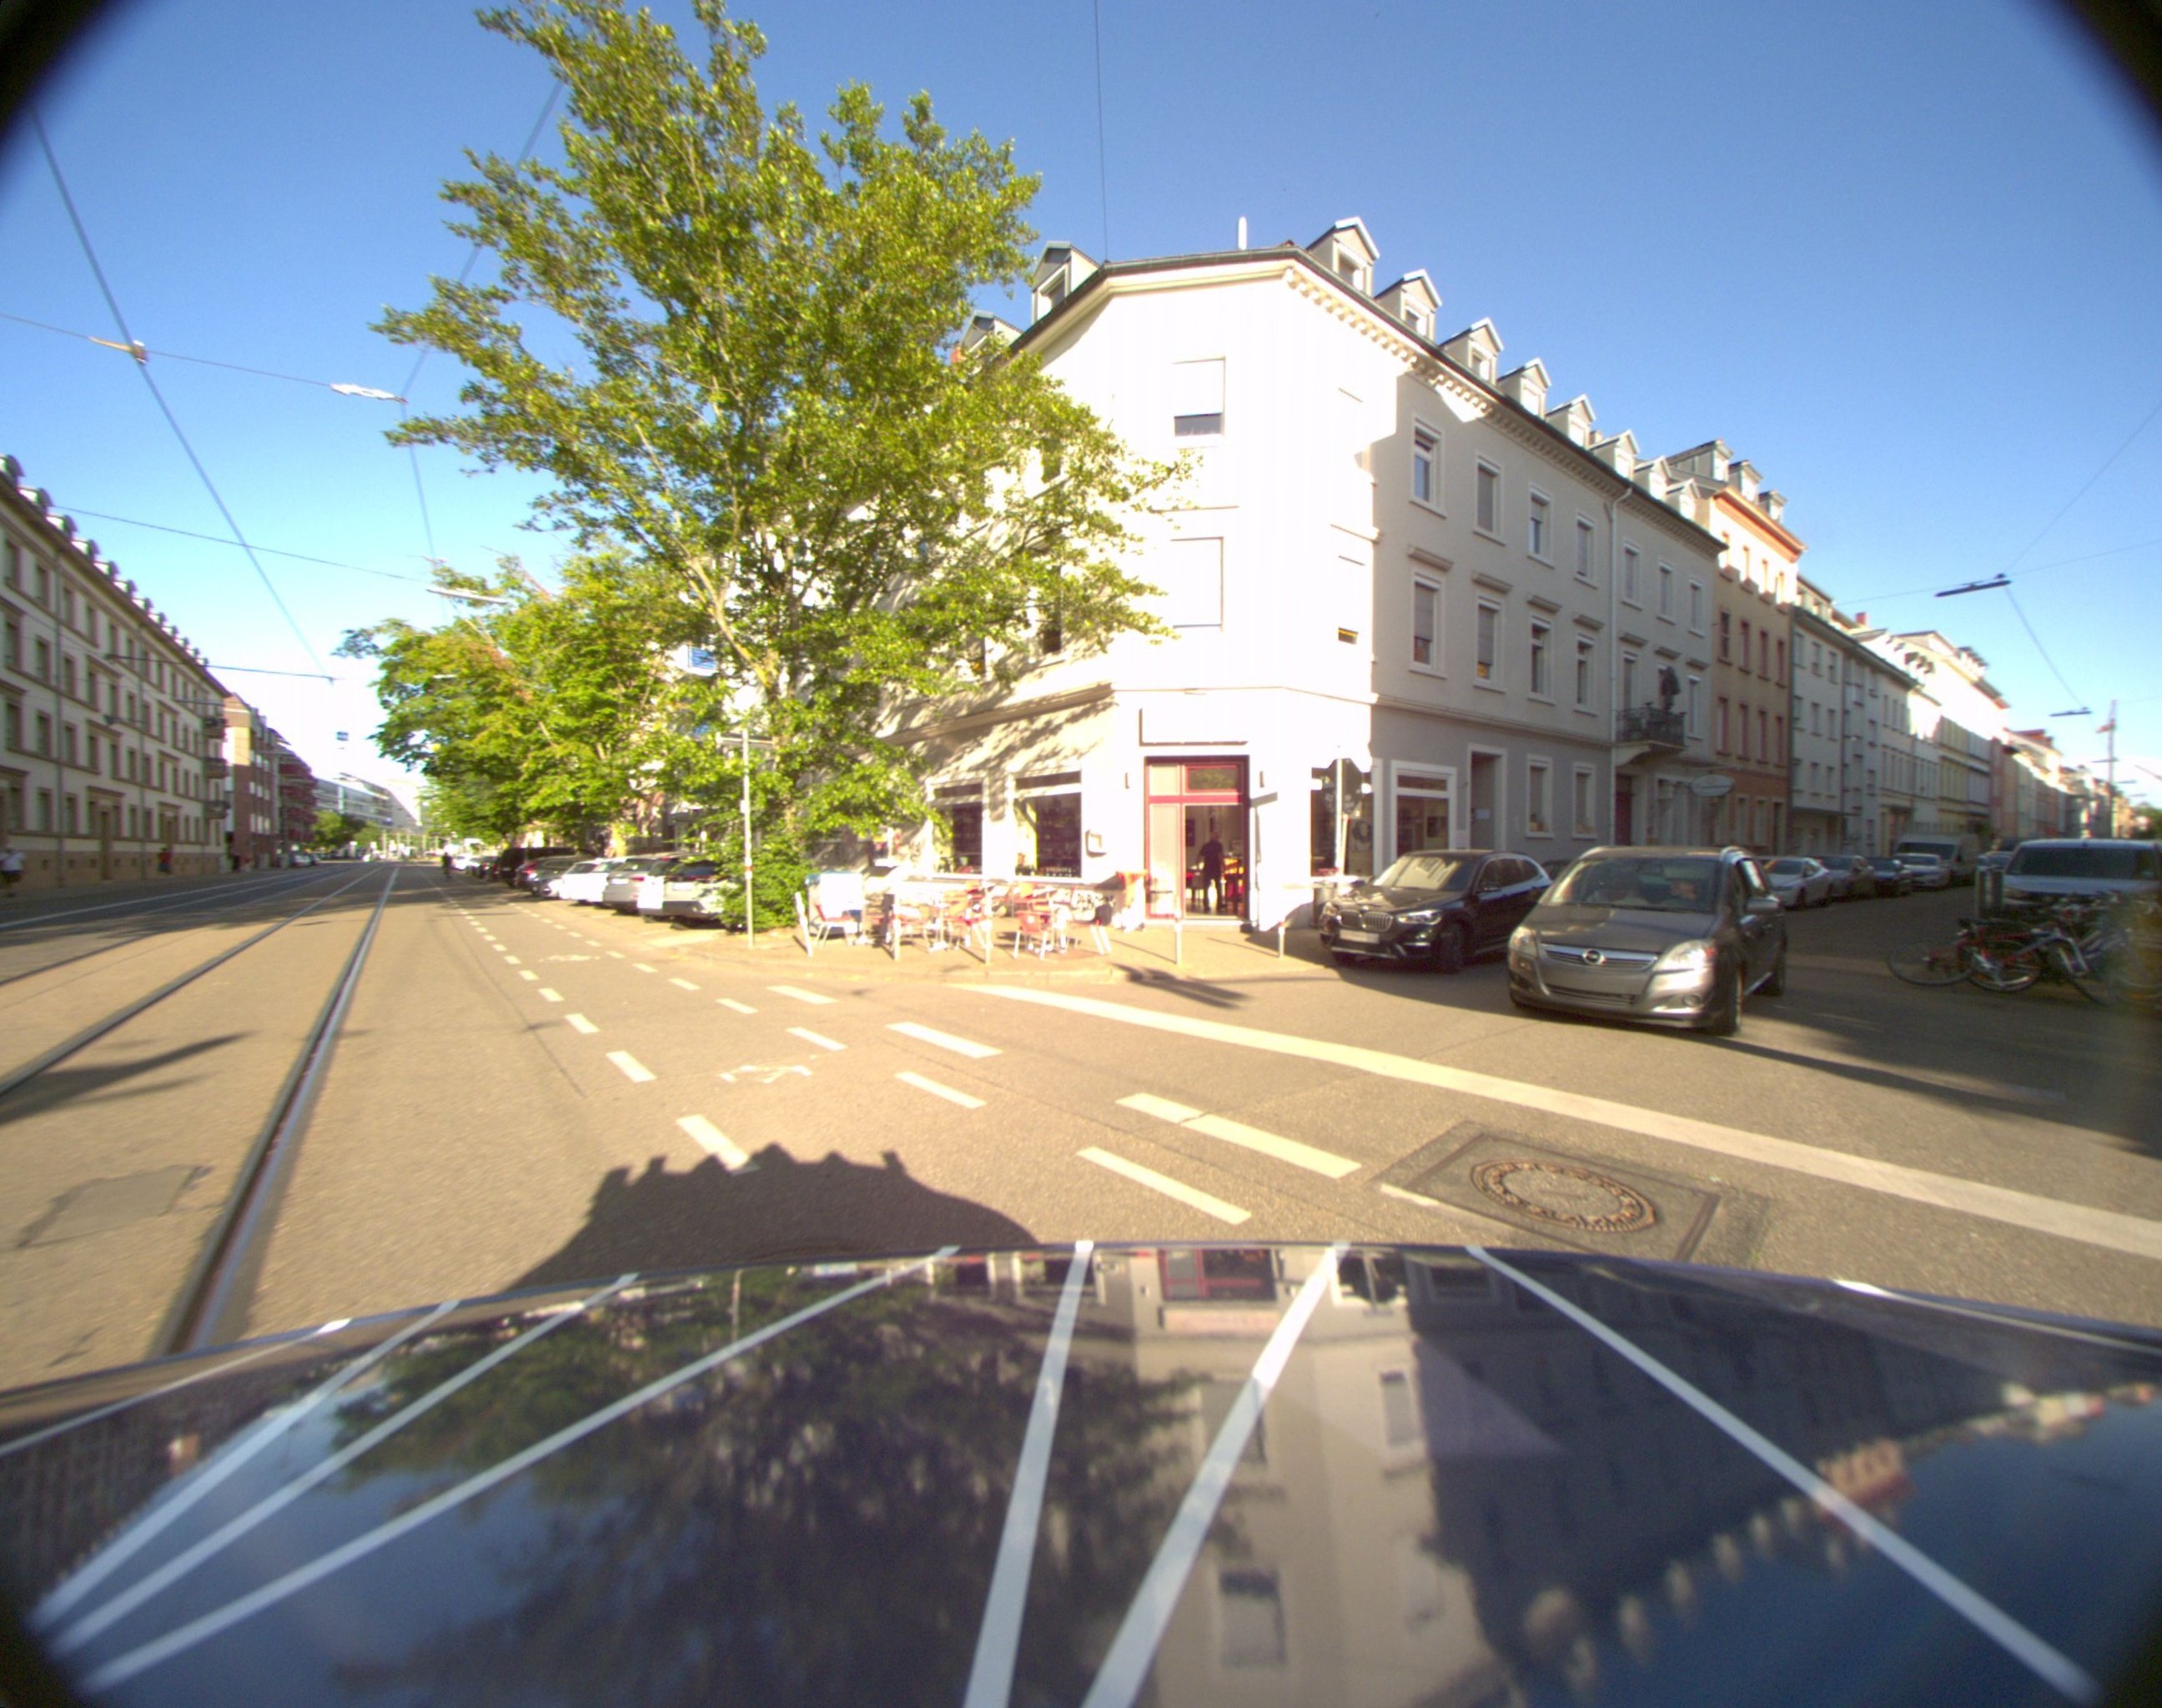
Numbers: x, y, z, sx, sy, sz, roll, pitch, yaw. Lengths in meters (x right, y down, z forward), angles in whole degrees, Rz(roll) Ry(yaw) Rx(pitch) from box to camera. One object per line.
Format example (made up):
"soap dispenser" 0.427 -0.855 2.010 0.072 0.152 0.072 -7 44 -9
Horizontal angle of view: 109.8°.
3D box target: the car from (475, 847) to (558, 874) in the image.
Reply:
"car" -37.827 0.390 51.041 1.615 1.653 4.143 2 3 33

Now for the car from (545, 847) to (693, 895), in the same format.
"car" -16.277 0.546 26.924 1.615 1.480 4.144 2 3 43

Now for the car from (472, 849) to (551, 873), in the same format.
"car" -40.040 0.447 53.499 1.615 1.480 4.143 2 3 33

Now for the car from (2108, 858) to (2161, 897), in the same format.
"car" 42.341 0.910 30.006 3.866 1.454 1.680 0 1 -30

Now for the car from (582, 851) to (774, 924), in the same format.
"car" -10.274 0.768 19.715 1.615 1.547 4.143 1 2 29

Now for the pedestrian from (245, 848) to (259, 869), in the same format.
"pedestrian" -70.044 0.379 64.233 0.740 1.827 0.694 0 1 -43

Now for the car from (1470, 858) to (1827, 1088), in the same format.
"car" 6.115 0.895 7.886 5.195 1.652 1.795 0 -1 -40

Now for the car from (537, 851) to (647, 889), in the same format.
"car" -22.280 0.674 34.830 1.617 1.480 4.139 1 2 16

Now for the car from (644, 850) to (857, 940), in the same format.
"car" -6.887 0.750 16.353 1.616 1.547 4.142 1 2 25

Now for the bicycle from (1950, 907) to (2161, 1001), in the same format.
"bicycle" 11.966 1.186 9.255 1.765 0.956 0.482 1 1 43

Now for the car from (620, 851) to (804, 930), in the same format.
"car" -8.759 0.781 18.466 1.617 1.547 4.139 1 2 16

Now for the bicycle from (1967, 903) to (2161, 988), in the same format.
"bicycle" 13.230 1.188 10.153 0.406 0.956 1.765 0 1 -36

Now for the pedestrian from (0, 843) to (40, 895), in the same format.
"pedestrian" -37.625 0.524 26.919 0.740 1.827 0.694 0 1 -43

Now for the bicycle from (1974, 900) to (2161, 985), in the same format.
"bicycle" 13.609 1.180 10.386 0.464 0.983 1.765 0 1 -35

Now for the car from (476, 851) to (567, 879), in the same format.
"car" -34.067 0.620 46.369 1.615 1.480 4.143 2 3 33

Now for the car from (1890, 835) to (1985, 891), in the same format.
"car" 40.635 0.406 36.006 6.033 2.498 2.047 0 -1 -32

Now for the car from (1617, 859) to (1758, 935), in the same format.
"car" 14.295 0.928 17.845 3.795 1.577 1.637 0 -1 -36

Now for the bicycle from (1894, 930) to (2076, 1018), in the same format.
"bicycle" 10.334 1.349 8.746 0.356 0.813 1.309 -1 1 -44

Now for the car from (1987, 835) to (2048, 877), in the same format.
"car" 62.647 0.138 50.809 6.197 2.662 2.046 0 -1 -34

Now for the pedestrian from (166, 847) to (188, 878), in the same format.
"pedestrian" -53.125 0.495 44.656 0.740 1.827 0.694 0 1 -43

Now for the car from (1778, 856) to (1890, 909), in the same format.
"car" 24.677 0.873 24.867 4.197 1.588 1.680 0 -1 -32

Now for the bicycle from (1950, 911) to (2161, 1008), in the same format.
"bicycle" 11.620 1.214 8.968 0.428 0.956 1.765 0 1 -42

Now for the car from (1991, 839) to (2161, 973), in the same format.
"car" 17.315 0.751 13.012 4.527 1.900 1.679 0 4 -34

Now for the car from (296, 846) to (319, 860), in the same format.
"car" -93.666 -0.092 92.052 1.894 1.674 4.380 -1 0 -44

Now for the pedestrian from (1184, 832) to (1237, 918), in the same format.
"pedestrian" 2.808 0.440 16.425 0.862 1.789 0.853 1 1 32

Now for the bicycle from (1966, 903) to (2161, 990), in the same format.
"bicycle" 12.899 1.169 9.878 0.423 0.956 1.765 0 1 -36

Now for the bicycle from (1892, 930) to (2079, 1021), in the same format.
"bicycle" 10.035 1.326 8.491 0.372 0.813 1.309 -1 1 -44

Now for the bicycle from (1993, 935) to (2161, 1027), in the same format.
"bicycle" 11.166 1.389 8.356 0.362 0.813 1.386 0 3 -44

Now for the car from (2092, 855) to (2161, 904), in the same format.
"car" 34.182 0.797 24.617 3.619 1.484 1.680 0 1 -37

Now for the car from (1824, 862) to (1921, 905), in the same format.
"car" 28.476 1.002 27.308 4.503 1.386 1.768 0 -1 -35

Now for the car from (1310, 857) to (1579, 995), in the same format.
"car" 5.430 0.896 11.152 4.205 1.652 1.761 0 -1 -36

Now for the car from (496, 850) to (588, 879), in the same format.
"car" -30.907 0.580 43.655 4.144 1.480 1.615 -2 3 -42

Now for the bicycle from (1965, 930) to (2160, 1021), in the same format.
"bicycle" 11.281 1.368 8.797 0.382 0.813 1.308 0 3 -44

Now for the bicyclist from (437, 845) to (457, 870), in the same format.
"bicyclist" -38.400 0.199 46.012 0.903 1.445 1.259 0 1 -41

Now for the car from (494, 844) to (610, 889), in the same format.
"car" -24.525 0.516 35.418 1.885 1.877 4.139 1 2 16

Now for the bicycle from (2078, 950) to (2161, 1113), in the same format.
"bicycle" 7.376 1.205 4.742 0.457 1.039 1.690 1 -2 15

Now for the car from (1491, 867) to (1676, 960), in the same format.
"car" 9.618 1.031 14.461 3.962 1.494 1.646 0 -1 -36

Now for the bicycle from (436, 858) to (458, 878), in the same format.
"bicycle" -38.411 0.832 46.025 0.903 1.158 3.239 0 1 -41

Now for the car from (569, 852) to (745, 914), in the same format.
"car" -12.166 0.761 22.086 1.615 1.480 4.143 2 3 35

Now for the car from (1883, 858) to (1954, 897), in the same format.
"car" 35.256 0.964 31.959 3.867 1.549 1.680 0 -1 -37

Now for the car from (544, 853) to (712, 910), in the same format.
"car" -13.946 0.782 23.621 1.615 1.480 4.143 2 3 34

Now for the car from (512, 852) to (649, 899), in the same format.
"car" -18.510 0.727 28.335 1.617 1.480 4.139 1 2 16

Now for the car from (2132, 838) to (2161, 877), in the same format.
"car" 74.318 0.216 52.389 5.854 2.576 2.089 0 1 -35

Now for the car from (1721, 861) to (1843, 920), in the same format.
"car" 19.822 0.961 21.444 4.198 1.501 1.680 0 -1 -35

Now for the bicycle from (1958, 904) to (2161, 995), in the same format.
"bicycle" 12.511 1.176 9.644 0.444 0.956 1.765 0 1 -36

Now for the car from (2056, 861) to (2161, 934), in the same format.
"car" 24.686 0.966 18.039 4.211 1.465 1.679 0 3 -36
